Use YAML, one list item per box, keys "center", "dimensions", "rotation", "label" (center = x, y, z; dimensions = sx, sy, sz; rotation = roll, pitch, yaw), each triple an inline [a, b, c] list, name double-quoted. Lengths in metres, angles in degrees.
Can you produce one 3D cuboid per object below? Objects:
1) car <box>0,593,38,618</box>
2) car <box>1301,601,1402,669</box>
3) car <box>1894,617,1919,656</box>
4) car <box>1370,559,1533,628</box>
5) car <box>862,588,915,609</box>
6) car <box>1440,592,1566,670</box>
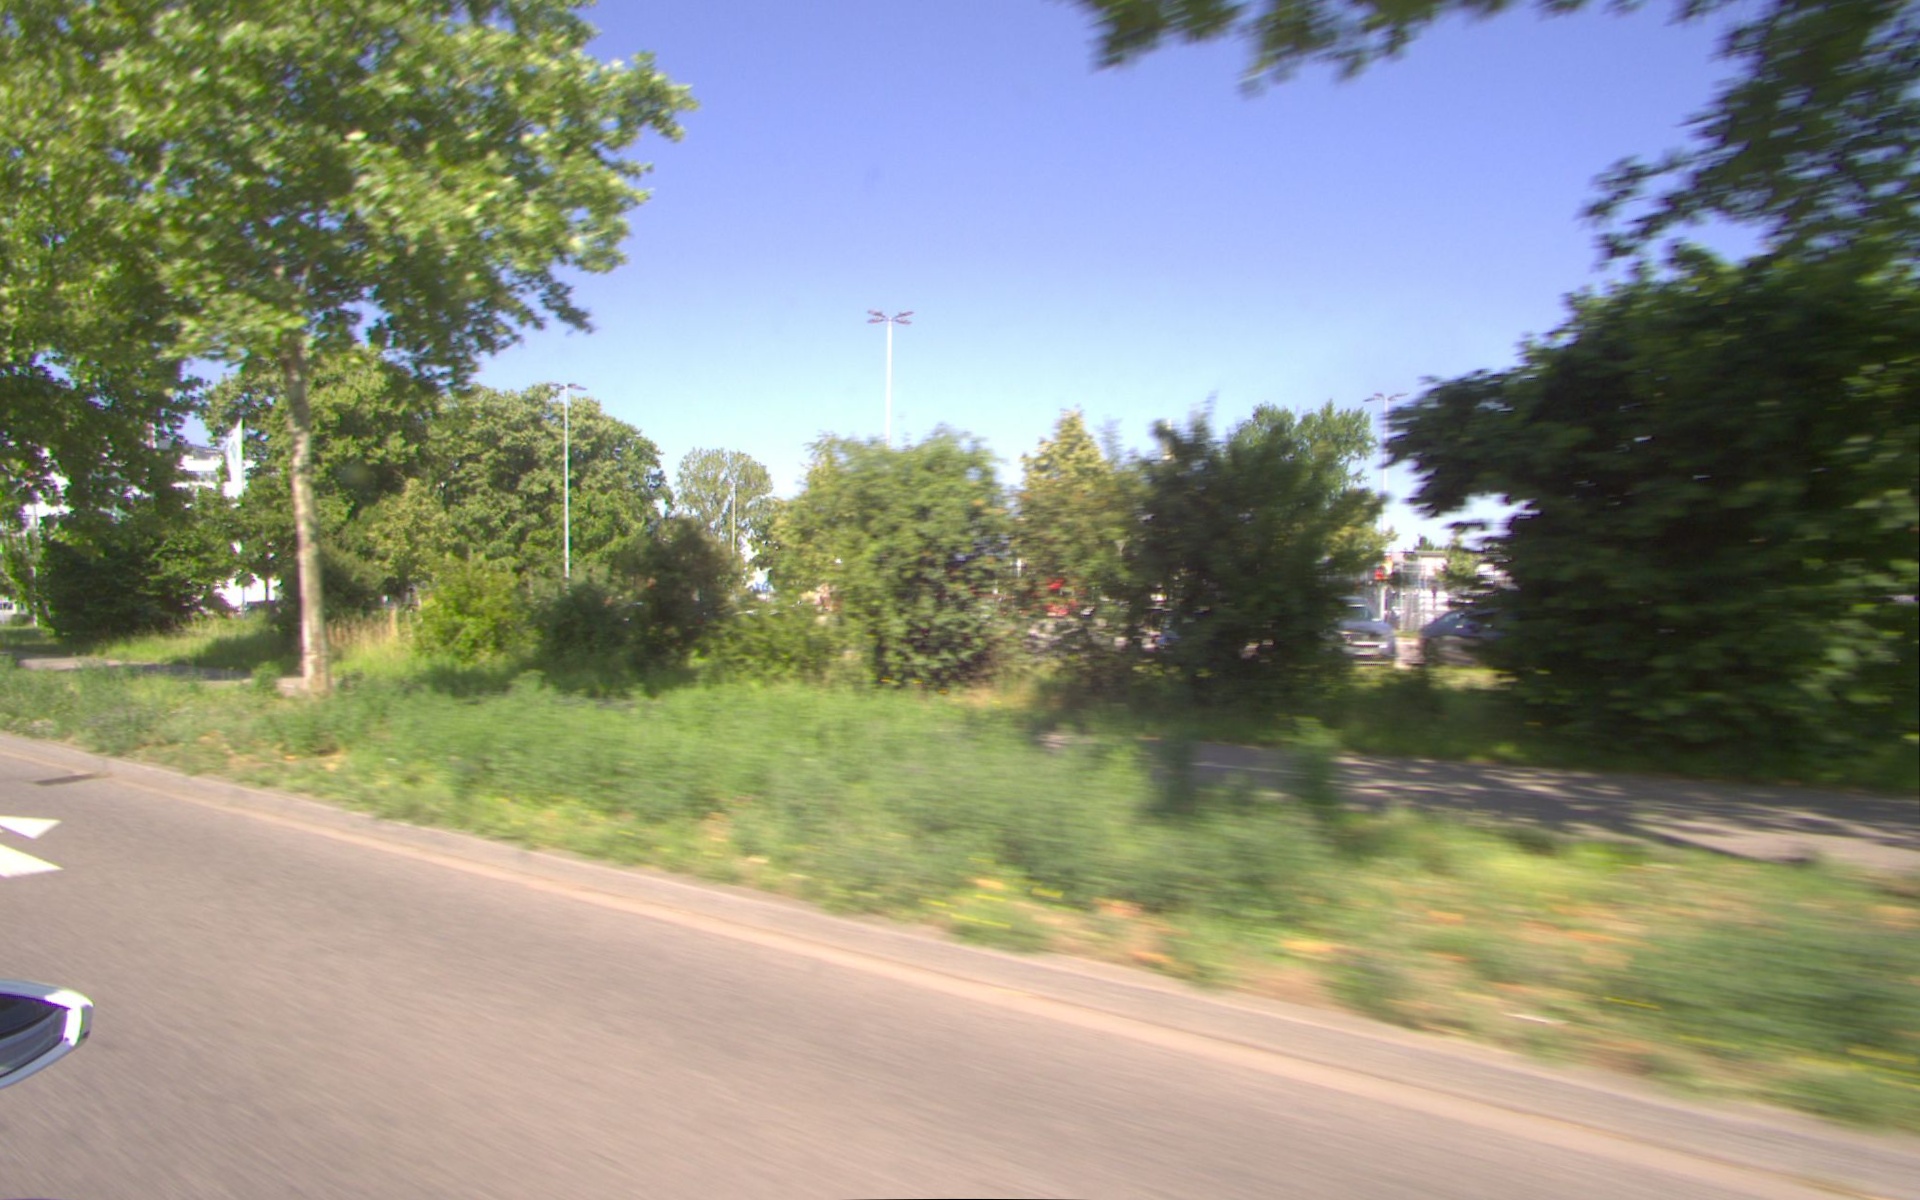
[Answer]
- center: [-79.450, 0.427, 82.657]
  dimensions: [1.963, 2.039, 4.535]
  rotation: [0, -1, 15]
  label: "car"
- center: [9.055, 0.801, 23.402]
  dimensions: [1.671, 1.438, 3.543]
  rotation: [0, -1, 13]
  label: "car"
- center: [36.572, 1.349, 36.545]
  dimensions: [3.449, 1.429, 1.685]
  rotation: [1, -1, -1]
  label: "car"
- center: [29.609, -0.339, 60.473]
  dimensions: [8.711, 4.001, 2.454]
  rotation: [1, -1, -3]
  label: "car"
- center: [-6.734, -0.158, 94.805]
  dimensions: [4.824, 1.906, 1.770]
  rotation: [0, -1, 2]
  label: "car"
- center: [12.507, 0.709, 23.299]
  dimensions: [1.698, 1.661, 3.651]
  rotation: [0, -1, 14]
  label: "car"
